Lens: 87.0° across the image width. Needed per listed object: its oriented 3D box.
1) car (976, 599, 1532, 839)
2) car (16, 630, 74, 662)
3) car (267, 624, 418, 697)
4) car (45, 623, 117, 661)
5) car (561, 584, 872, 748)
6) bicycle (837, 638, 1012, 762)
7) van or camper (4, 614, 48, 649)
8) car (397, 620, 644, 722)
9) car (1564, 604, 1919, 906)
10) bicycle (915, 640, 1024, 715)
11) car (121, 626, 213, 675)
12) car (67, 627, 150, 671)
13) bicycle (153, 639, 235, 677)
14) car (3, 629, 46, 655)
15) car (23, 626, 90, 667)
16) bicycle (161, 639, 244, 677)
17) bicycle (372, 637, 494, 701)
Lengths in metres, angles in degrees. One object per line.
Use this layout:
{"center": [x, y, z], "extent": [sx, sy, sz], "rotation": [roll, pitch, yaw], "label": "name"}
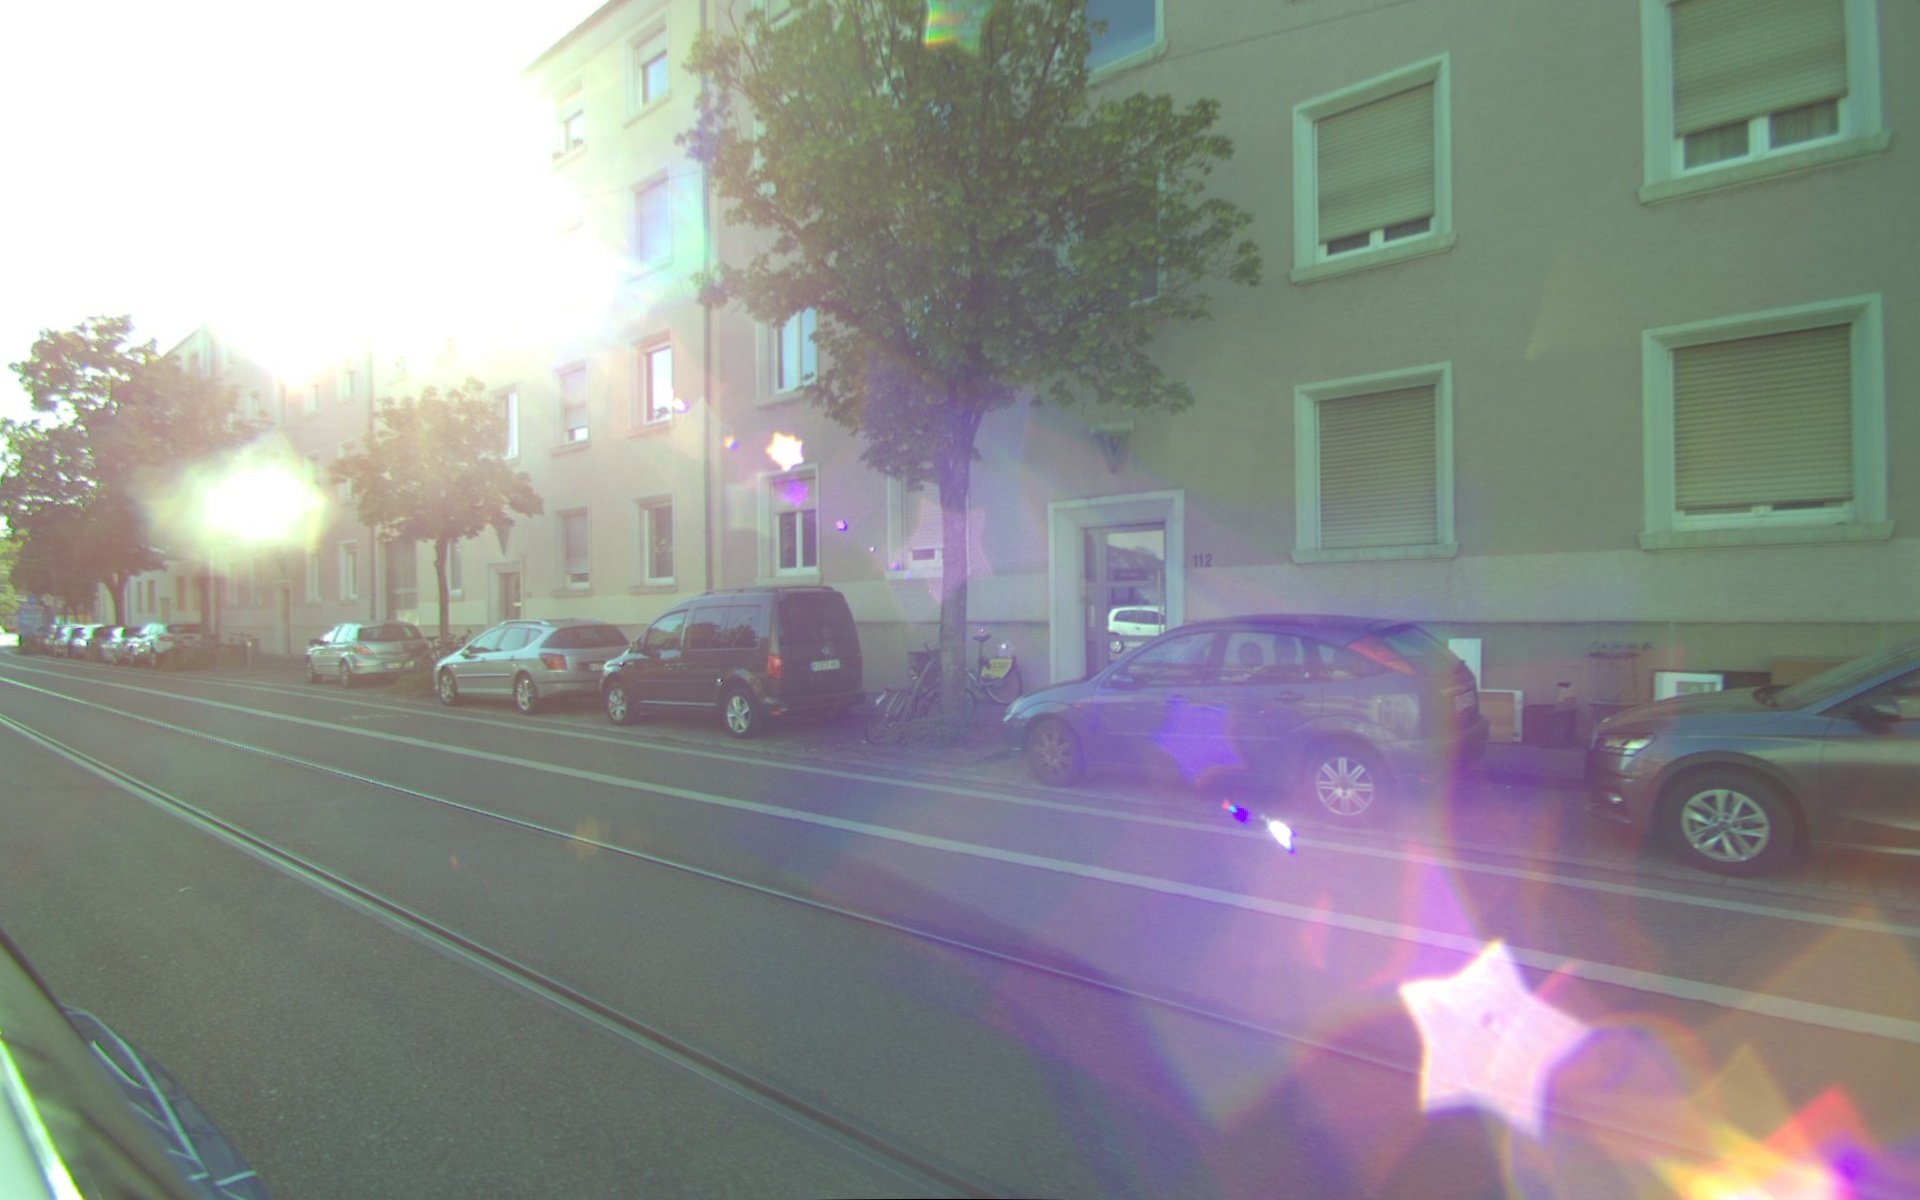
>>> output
{"center": [2.305, 0.818, 8.621], "extent": [4.179, 1.484, 1.747], "rotation": [-2, 1, 42], "label": "car"}
{"center": [-48.537, 2.417, 53.666], "extent": [3.945, 1.563, 1.668], "rotation": [-2, -1, 38], "label": "car"}
{"center": [-14.365, 1.335, 23.422], "extent": [4.751, 1.484, 1.746], "rotation": [-2, -1, 43], "label": "car"}
{"center": [-38.686, 1.844, 44.534], "extent": [4.043, 1.563, 1.668], "rotation": [-2, -1, 38], "label": "car"}
{"center": [-3.435, 0.809, 13.825], "extent": [4.418, 1.859, 1.748], "rotation": [-2, 1, 39], "label": "car"}
{"center": [-0.346, 1.063, 11.410], "extent": [0.746, 1.113, 2.091], "rotation": [-2, 1, 39], "label": "bicycle"}
{"center": [-68.522, 2.325, 74.207], "extent": [5.500, 2.432, 2.047], "rotation": [-2, -1, 44], "label": "van or camper"}
{"center": [-7.580, 1.130, 17.223], "extent": [4.851, 1.484, 1.748], "rotation": [-2, -1, 38], "label": "car"}
{"center": [5.846, 0.795, 5.600], "extent": [4.039, 1.484, 1.747], "rotation": [-2, 1, 41], "label": "car"}
{"center": [0.114, 1.043, 13.981], "extent": [1.504, 0.971, 0.479], "rotation": [-2, -1, 37], "label": "bicycle"}
{"center": [-28.044, 1.750, 35.748], "extent": [4.043, 1.635, 1.668], "rotation": [-2, -1, 38], "label": "car"}
{"center": [-32.821, 1.859, 38.958], "extent": [4.043, 1.563, 1.668], "rotation": [-2, -1, 38], "label": "car"}
{"center": [-25.464, 1.910, 33.693], "extent": [0.535, 1.151, 2.124], "rotation": [-2, -1, 37], "label": "bicycle"}
{"center": [-59.199, 2.662, 64.037], "extent": [3.408, 1.556, 1.645], "rotation": [-2, -1, 41], "label": "car"}
{"center": [-42.207, 2.165, 47.274], "extent": [4.043, 1.800, 1.668], "rotation": [-2, -1, 38], "label": "car"}
{"center": [-24.842, 1.876, 33.213], "extent": [0.530, 1.151, 2.124], "rotation": [-2, -1, 37], "label": "bicycle"}
{"center": [-10.772, 1.379, 20.769], "extent": [0.659, 1.151, 2.124], "rotation": [-2, 0, 37], "label": "bicycle"}
